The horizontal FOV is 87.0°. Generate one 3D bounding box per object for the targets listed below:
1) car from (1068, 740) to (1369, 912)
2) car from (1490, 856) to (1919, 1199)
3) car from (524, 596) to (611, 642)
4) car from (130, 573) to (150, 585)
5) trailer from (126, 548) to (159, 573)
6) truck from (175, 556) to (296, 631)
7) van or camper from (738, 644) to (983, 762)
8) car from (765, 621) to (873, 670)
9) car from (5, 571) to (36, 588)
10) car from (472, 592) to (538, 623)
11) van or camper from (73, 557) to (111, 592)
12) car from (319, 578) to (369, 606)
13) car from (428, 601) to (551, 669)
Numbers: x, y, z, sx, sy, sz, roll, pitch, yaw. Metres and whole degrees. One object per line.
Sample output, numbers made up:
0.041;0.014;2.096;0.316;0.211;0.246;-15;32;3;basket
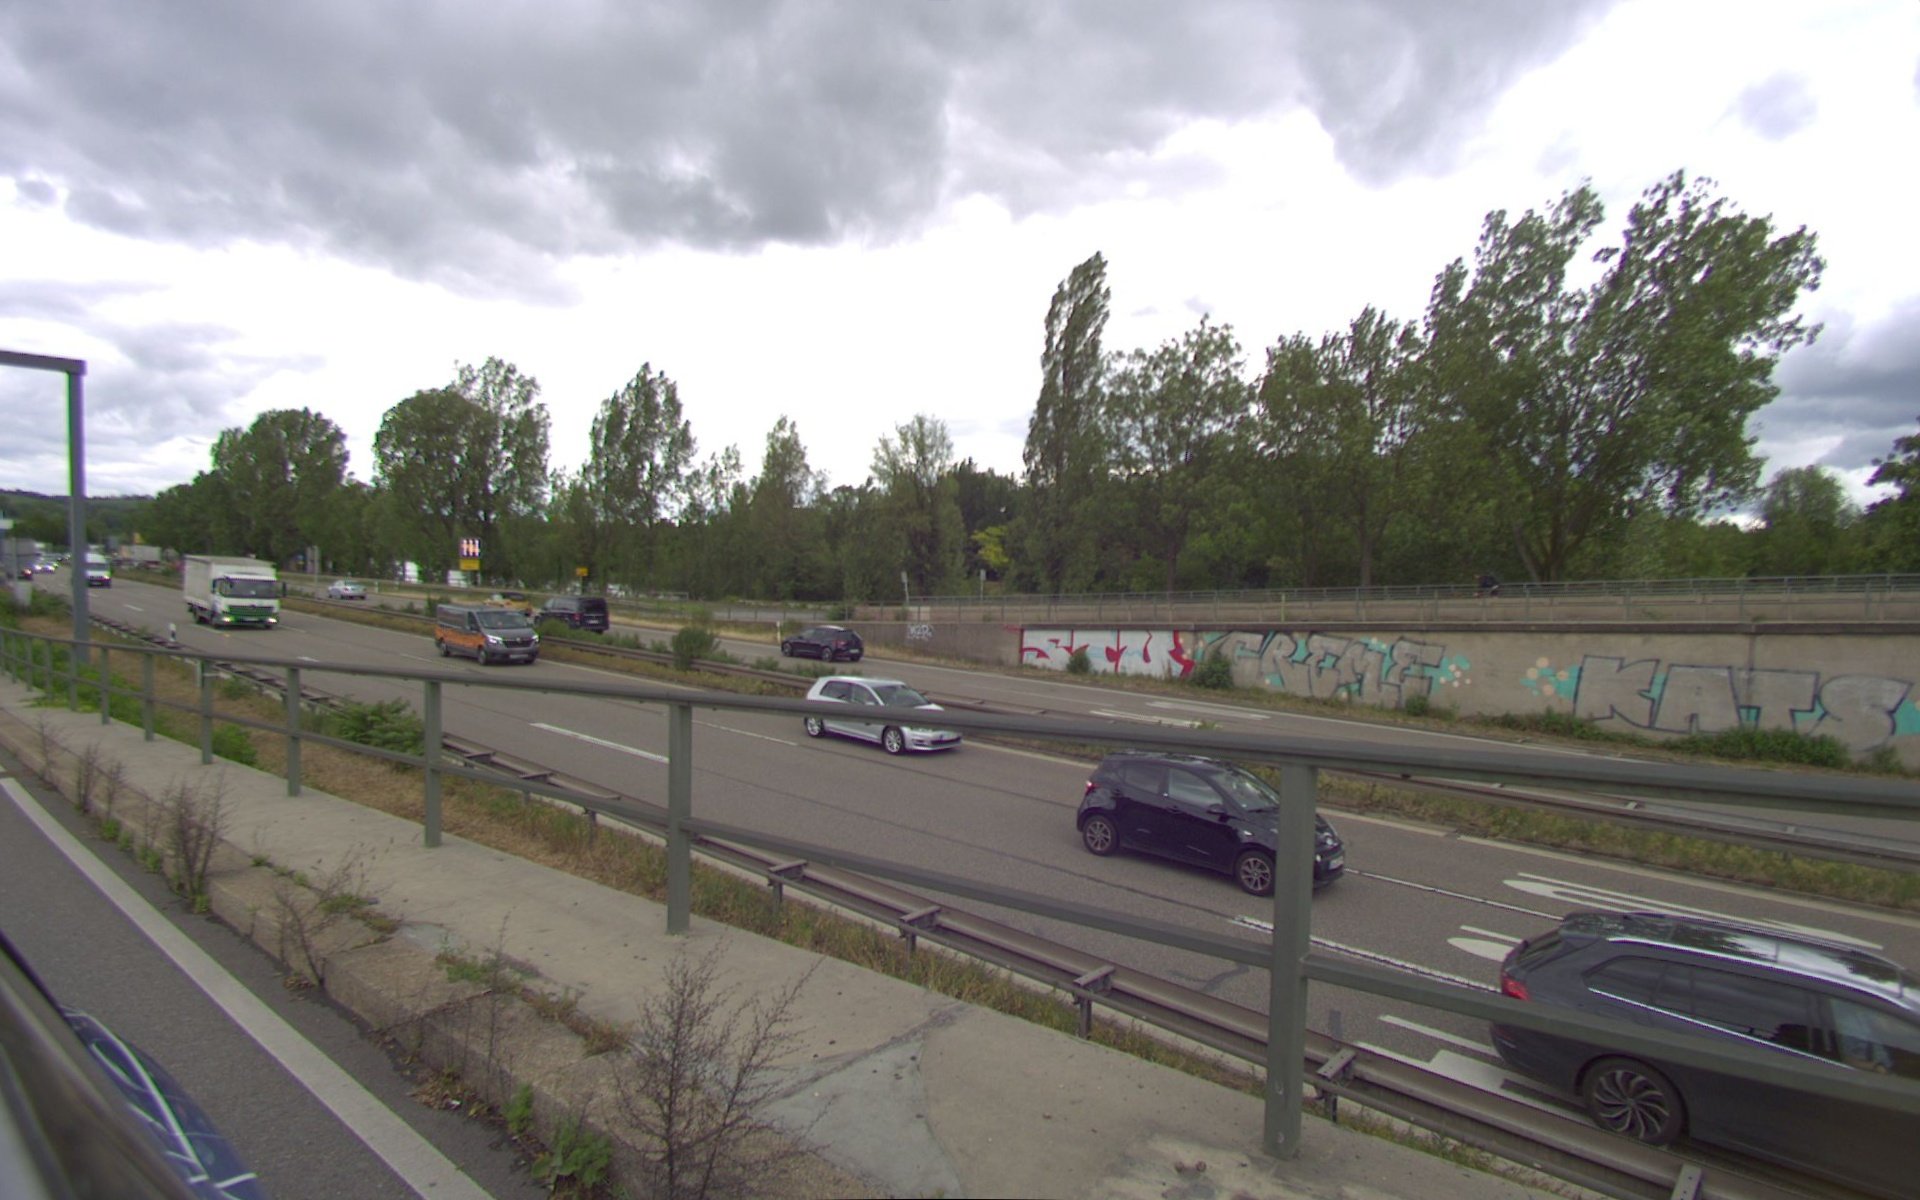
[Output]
3.509;2.990;14.096;3.648;1.337;1.705;5;3;42;car
6.313;3.118;6.959;1.911;1.512;4.311;2;0;-41;car
-20.102;0.948;51.768;5.116;2.003;2.069;4;2;43;car
-123.252;-3.173;152.120;4.003;1.765;1.971;2;1;45;car
-142.187;-6.914;175.989;13.519;3.978;2.759;3;3;44;trailer
-34.595;-0.368;48.196;7.567;3.182;3.000;3;2;41;truck
-2.494;2.239;23.659;6.346;1.882;1.862;3;3;41;van or camper
-6.106;1.903;43.447;4.703;1.705;1.972;3;2;42;car
-84.942;-1.849;91.451;1.970;1.410;4.004;1;1;-44;car
-28.930;0.456;64.274;4.701;1.732;1.973;4;2;41;car
-71.165;-2.131;82.928;2.178;2.623;6.337;-1;3;-42;van or camper
-47.370;-0.604;77.801;4.704;1.704;1.972;7;4;42;car
-17.319;1.208;37.156;5.337;2.028;2.072;4;2;41;car
